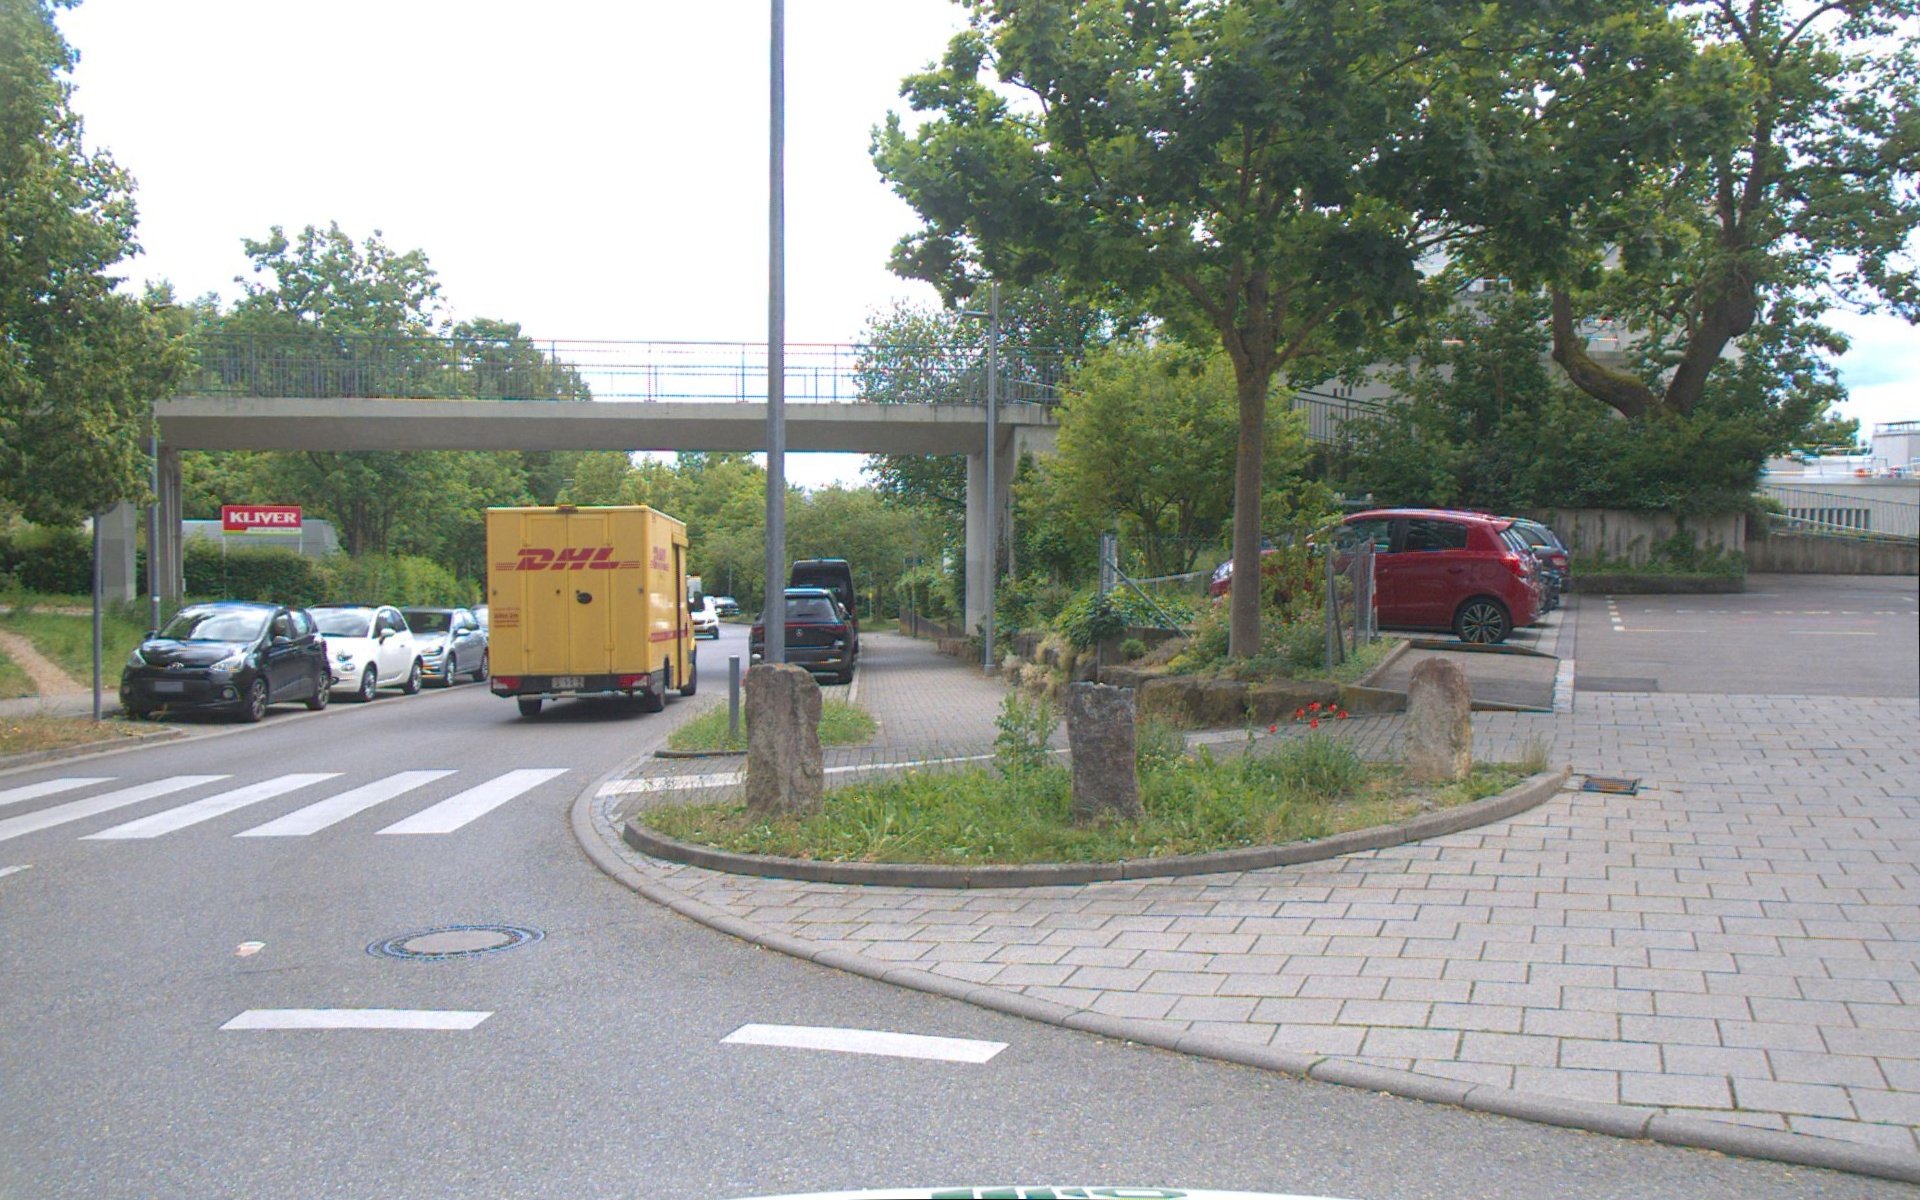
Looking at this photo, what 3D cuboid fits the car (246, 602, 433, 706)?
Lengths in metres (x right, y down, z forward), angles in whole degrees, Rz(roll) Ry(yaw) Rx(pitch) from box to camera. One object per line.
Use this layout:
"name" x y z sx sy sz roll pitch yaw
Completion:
"car" -9.965 0.820 26.834 1.847 1.485 3.544 1 1 -3

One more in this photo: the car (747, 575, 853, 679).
"car" -2.906 0.562 30.198 1.778 1.708 4.364 0 -3 -5

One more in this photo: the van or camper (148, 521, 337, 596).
"van or camper" -21.200 -1.210 49.077 4.765 2.122 1.996 1 1 -9

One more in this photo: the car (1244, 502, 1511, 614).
"car" 6.552 -0.670 26.051 3.902 1.642 1.946 1 1 16

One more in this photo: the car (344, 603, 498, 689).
"car" -10.298 0.837 31.893 1.847 1.452 3.998 1 1 -3

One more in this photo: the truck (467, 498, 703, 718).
"truck" -5.224 0.107 24.148 2.418 2.749 6.817 0 0 -5

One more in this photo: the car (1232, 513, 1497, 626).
"car" 5.837 -0.457 23.795 3.573 1.524 1.685 1 1 18

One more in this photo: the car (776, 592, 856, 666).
"car" -3.164 0.618 36.665 1.666 1.523 4.114 -1 0 -4

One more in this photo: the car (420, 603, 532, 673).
"car" -11.350 0.855 39.081 1.849 1.535 4.445 1 0 -8

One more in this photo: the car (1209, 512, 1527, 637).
"car" 5.118 -0.340 20.716 3.708 1.446 1.685 1 1 18

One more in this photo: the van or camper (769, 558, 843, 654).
"van or camper" -4.422 0.190 48.160 1.954 2.567 5.466 -2 0 -4

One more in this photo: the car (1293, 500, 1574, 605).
"car" 8.054 -0.823 28.322 4.447 1.697 1.946 1 1 16

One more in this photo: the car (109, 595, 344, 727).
"car" -9.806 0.754 22.451 1.752 1.493 3.995 2 1 -7

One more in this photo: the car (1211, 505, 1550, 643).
"car" 4.793 -0.318 18.873 3.573 1.464 1.685 1 1 18
